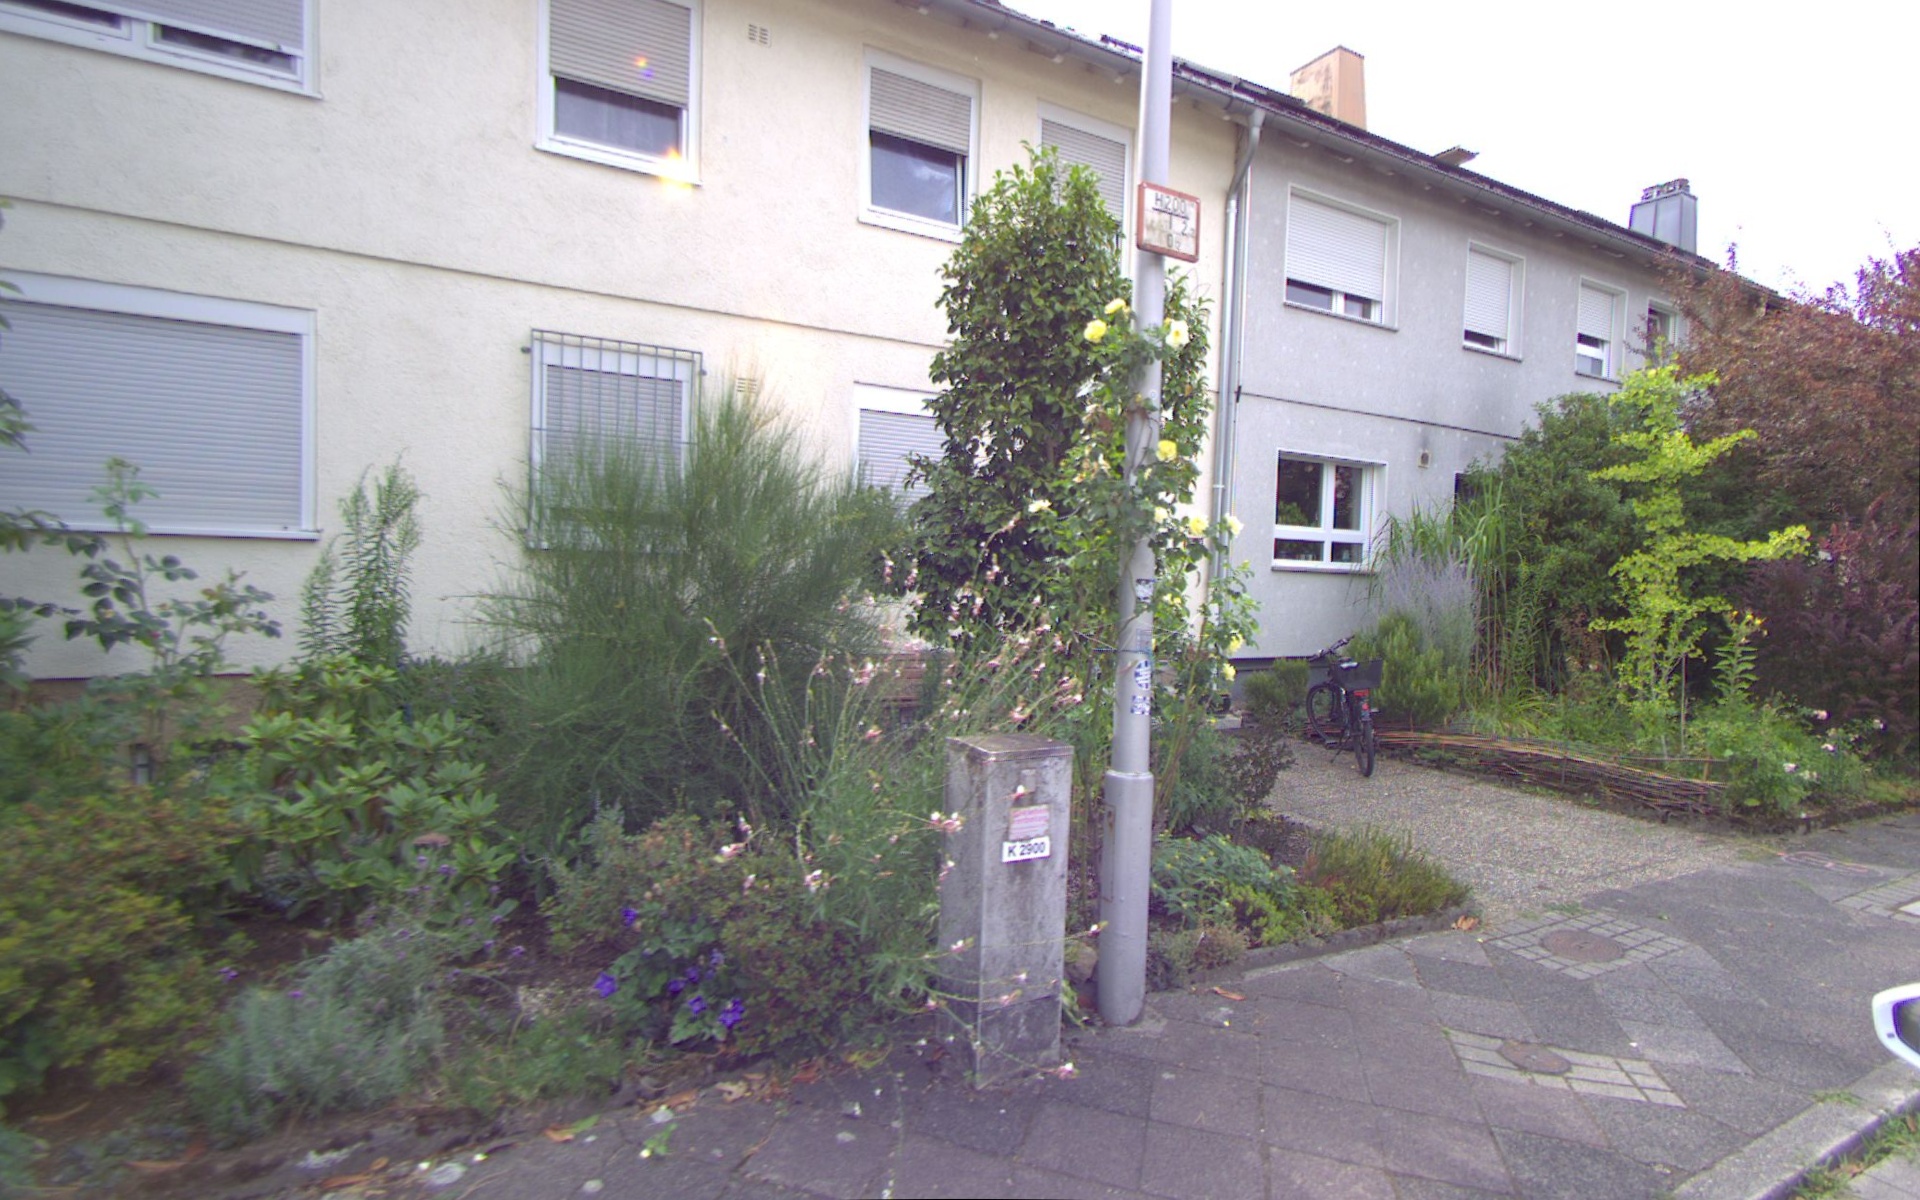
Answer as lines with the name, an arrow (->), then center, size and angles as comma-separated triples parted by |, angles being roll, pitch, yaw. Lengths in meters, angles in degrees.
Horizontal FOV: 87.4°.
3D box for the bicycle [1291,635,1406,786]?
bicycle -> 2.921, 0.780, 7.687 | 0.518, 0.905, 1.703 | 1, 2, 12
